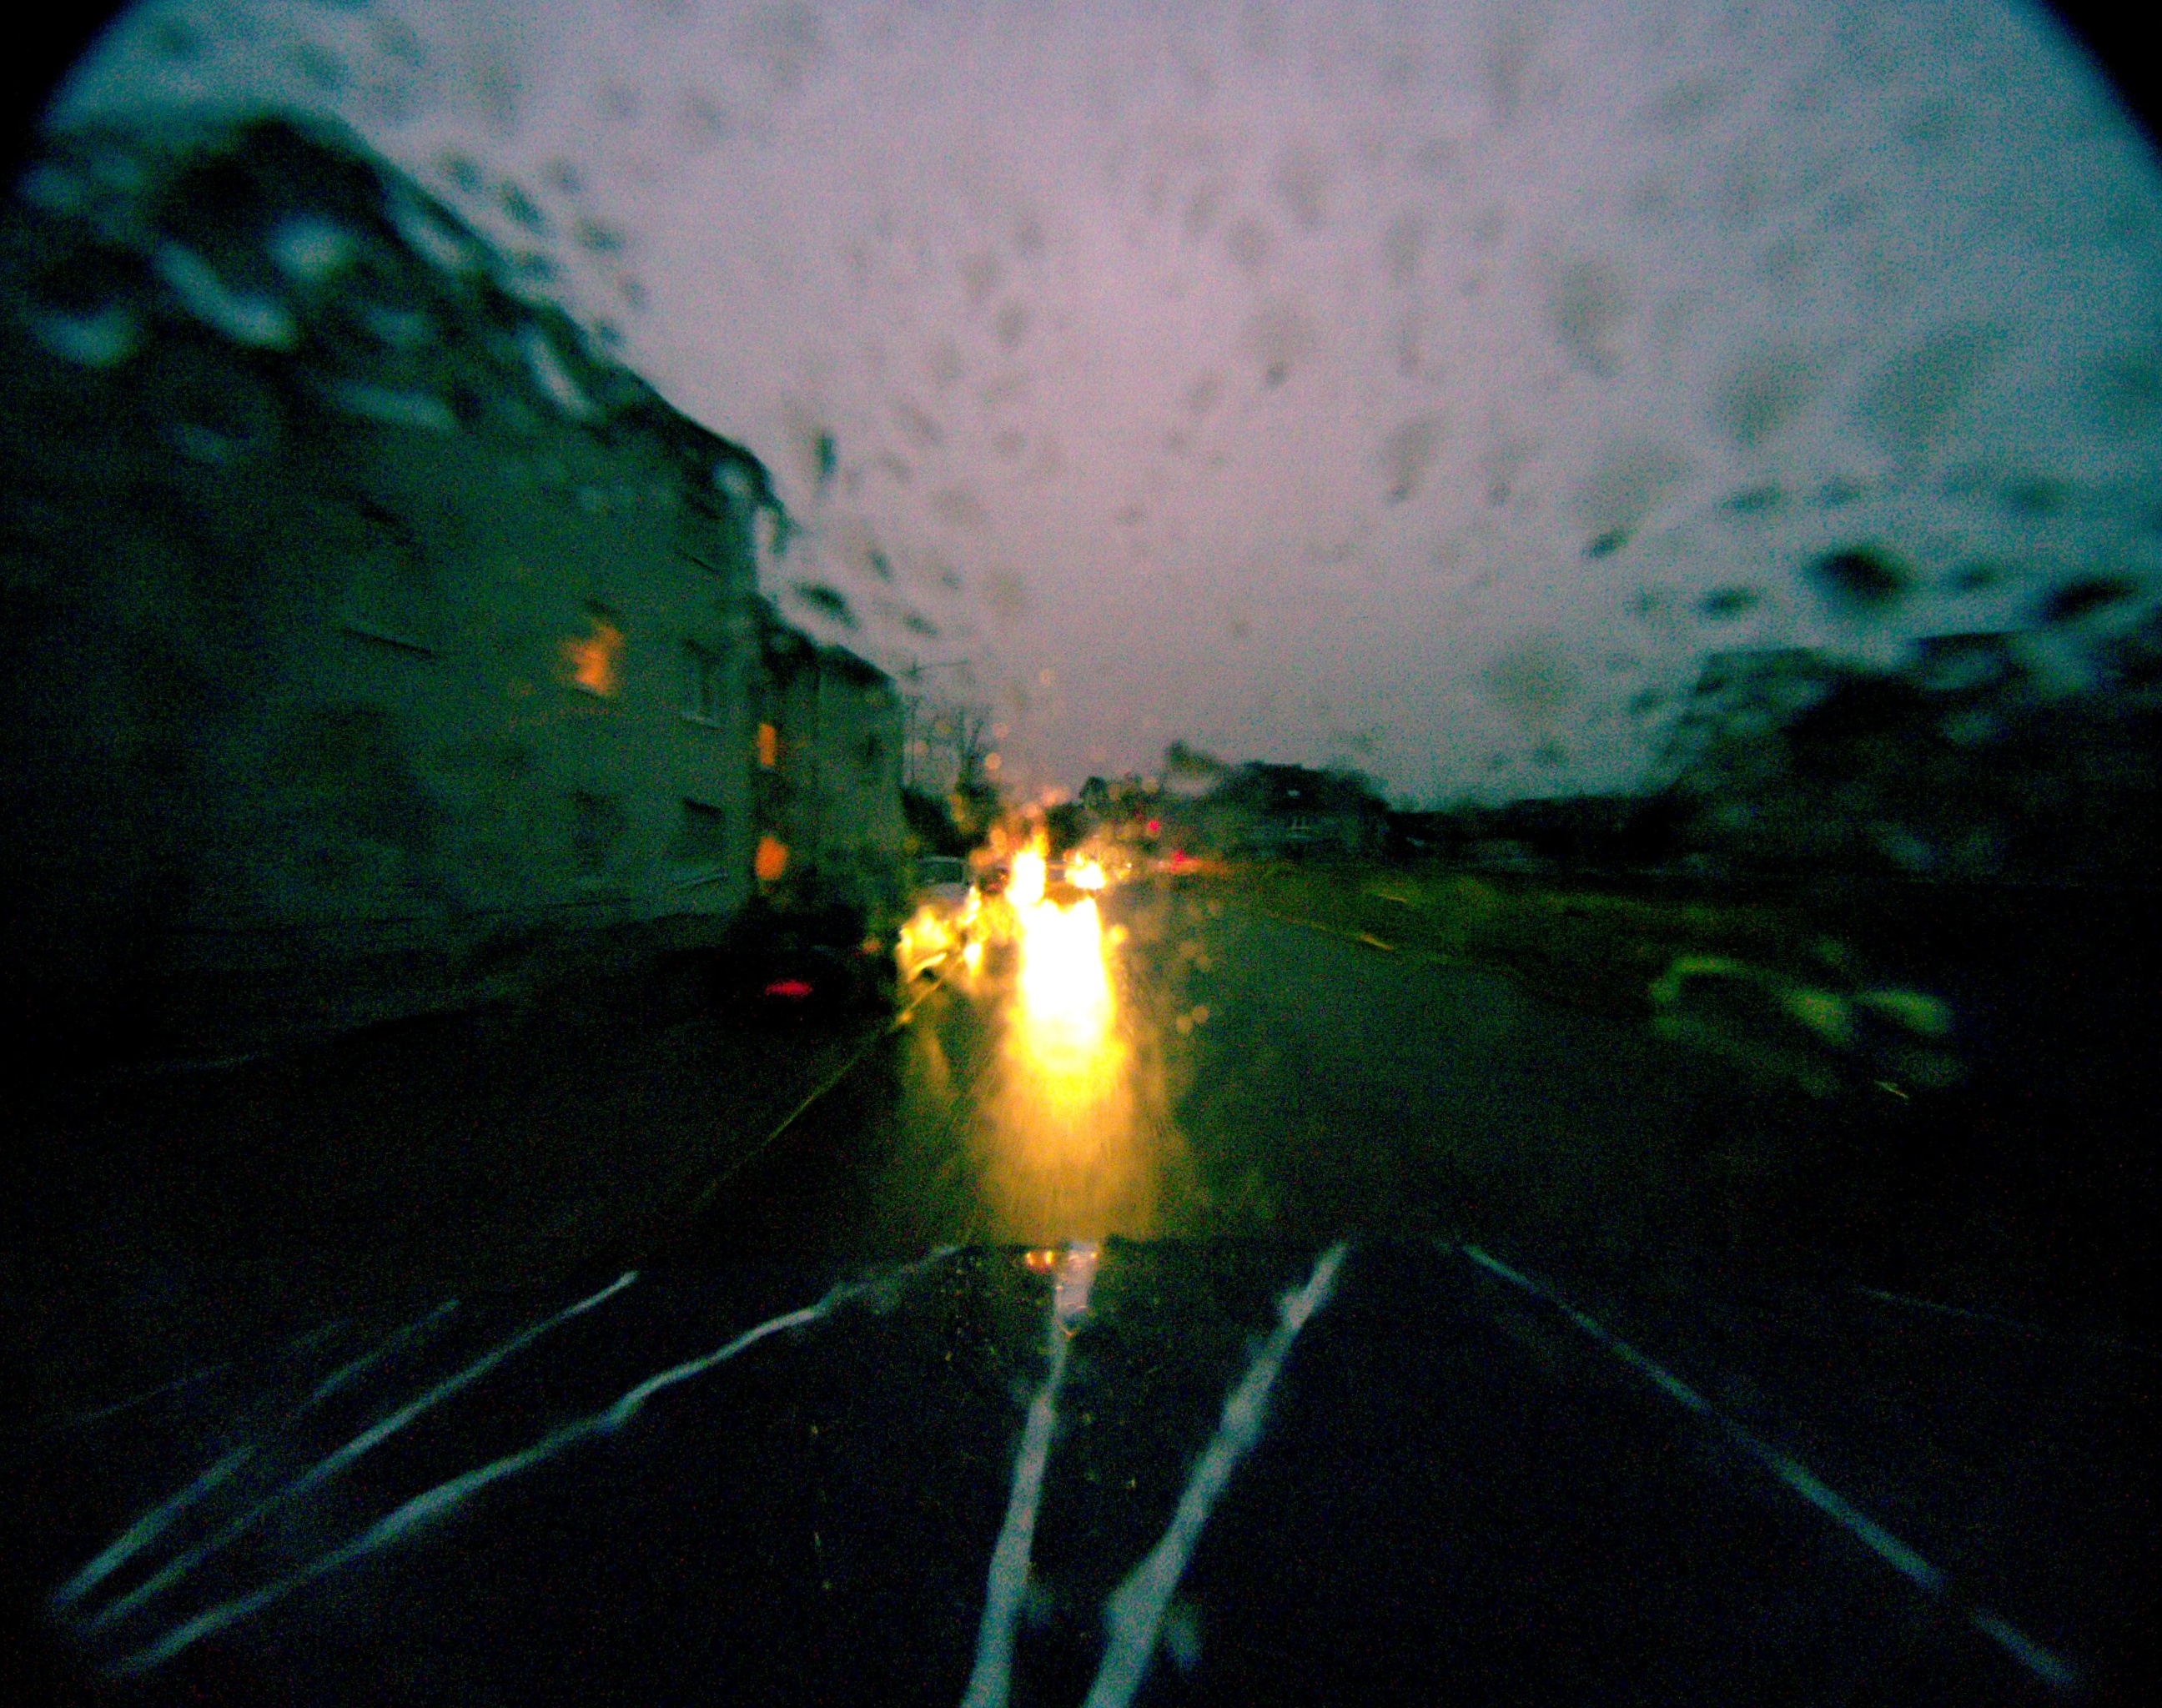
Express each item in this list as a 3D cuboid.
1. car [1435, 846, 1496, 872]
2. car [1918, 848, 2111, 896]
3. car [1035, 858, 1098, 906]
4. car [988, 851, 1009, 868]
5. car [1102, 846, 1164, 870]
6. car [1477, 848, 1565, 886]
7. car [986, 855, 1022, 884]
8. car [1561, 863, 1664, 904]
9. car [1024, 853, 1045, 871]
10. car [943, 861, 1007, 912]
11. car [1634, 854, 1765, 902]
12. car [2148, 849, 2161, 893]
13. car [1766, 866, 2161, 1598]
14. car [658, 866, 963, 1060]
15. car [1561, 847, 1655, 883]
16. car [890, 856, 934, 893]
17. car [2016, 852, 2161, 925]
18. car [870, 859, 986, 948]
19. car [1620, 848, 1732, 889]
[{"bbox_3d":[23.682,0.281,46.991,1.680,1.406,3.832,-3,1,-2],"label":"car"},{"bbox_3d":[33.508,0.634,27.431,4.032,1.515,1.816,-3,0,20],"label":"car"},{"bbox_3d":[-0.607,0.958,27.247,1.999,1.525,3.999,-2,-1,-4],"label":"car"},{"bbox_3d":[-8.640,0.573,79.158,1.917,1.780,4.562,0,0,-10],"label":"car"},{"bbox_3d":[3.923,0.280,57.594,4.345,1.611,1.999,-3,1,-7],"label":"car"},{"bbox_3d":[23.941,0.671,41.557,1.999,1.893,4.356,-3,0,-3],"label":"car"},{"bbox_3d":[-4.408,0.845,44.059,1.812,1.555,4.303,0,0,-3],"label":"car"},{"bbox_3d":[23.535,1.270,33.852,1.901,1.509,4.000,-3,1,3],"label":"car"},{"bbox_3d":[-4.328,0.759,71.571,1.906,1.630,4.565,0,0,-3],"label":"car"},{"bbox_3d":[-3.294,0.975,24.221,1.707,1.443,4.190,0,0,-4],"label":"car"},{"bbox_3d":[23.509,0.878,29.094,1.821,1.615,3.986,-3,0,3],"label":"car"},{"bbox_3d":[39.245,0.542,25.231,3.991,1.535,2.003,-2,0,19],"label":"car"},{"bbox_3d":[3.188,0.828,0.673,1.736,1.527,3.781,-3,0,1],"label":"car"},{"bbox_3d":[-2.759,0.996,9.175,1.962,1.523,5.008,-3,0,-2],"label":"car"},{"bbox_3d":[26.197,0.506,37.935,1.840,1.637,3.999,-3,0,-1],"label":"car"},{"bbox_3d":[-7.595,0.886,34.454,1.813,1.543,4.300,0,0,-11],"label":"car"},{"bbox_3d":[22.627,0.686,15.395,1.880,1.434,4.650,-1,0,5],"label":"car"},{"bbox_3d":[-3.057,0.911,16.033,1.669,1.566,4.496,0,0,-2],"label":"car"},{"bbox_3d":[26.060,0.602,33.485,1.815,1.637,4.000,-3,0,1],"label":"car"}]
